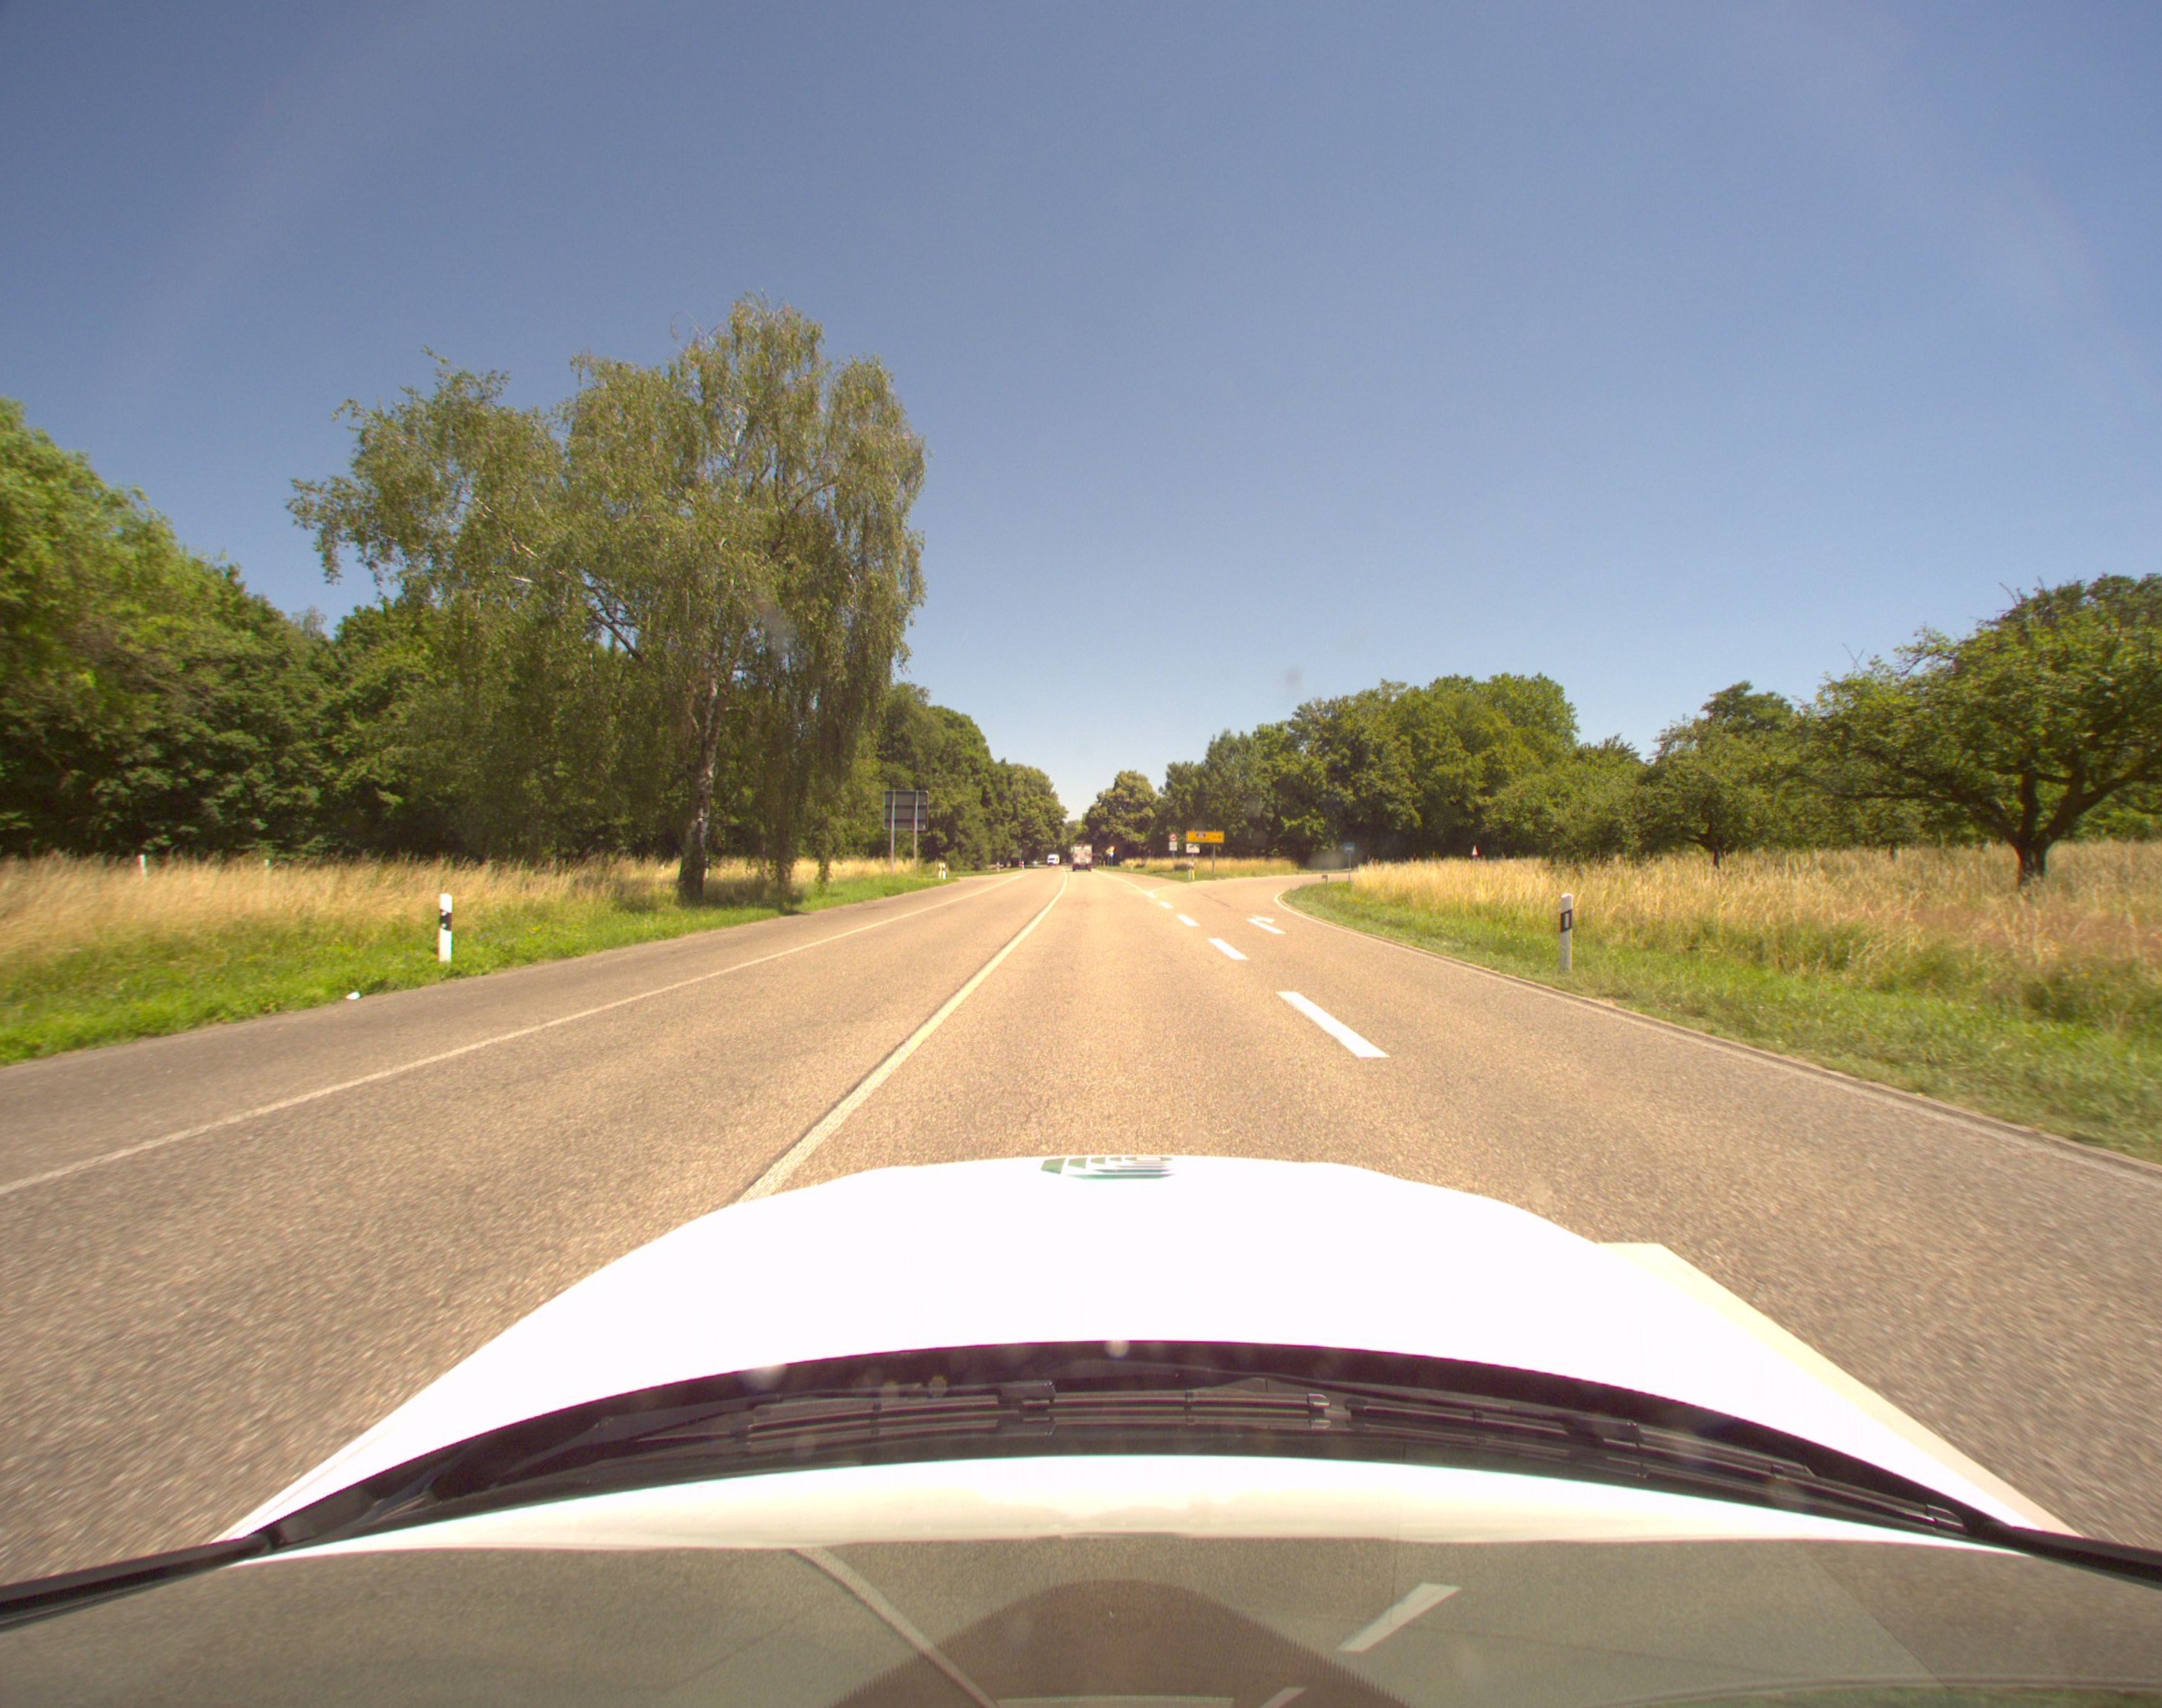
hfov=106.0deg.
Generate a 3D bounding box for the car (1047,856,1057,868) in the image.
[{"bbox_3d":[-6.789,1.910,192.490,2.067,2.628,6.781,0,-1,0],"label":"car"}]

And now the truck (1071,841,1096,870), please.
[{"bbox_3d":[0.289,0.190,91.697,2.523,3.135,5.364,0,0,2],"label":"truck"}]
